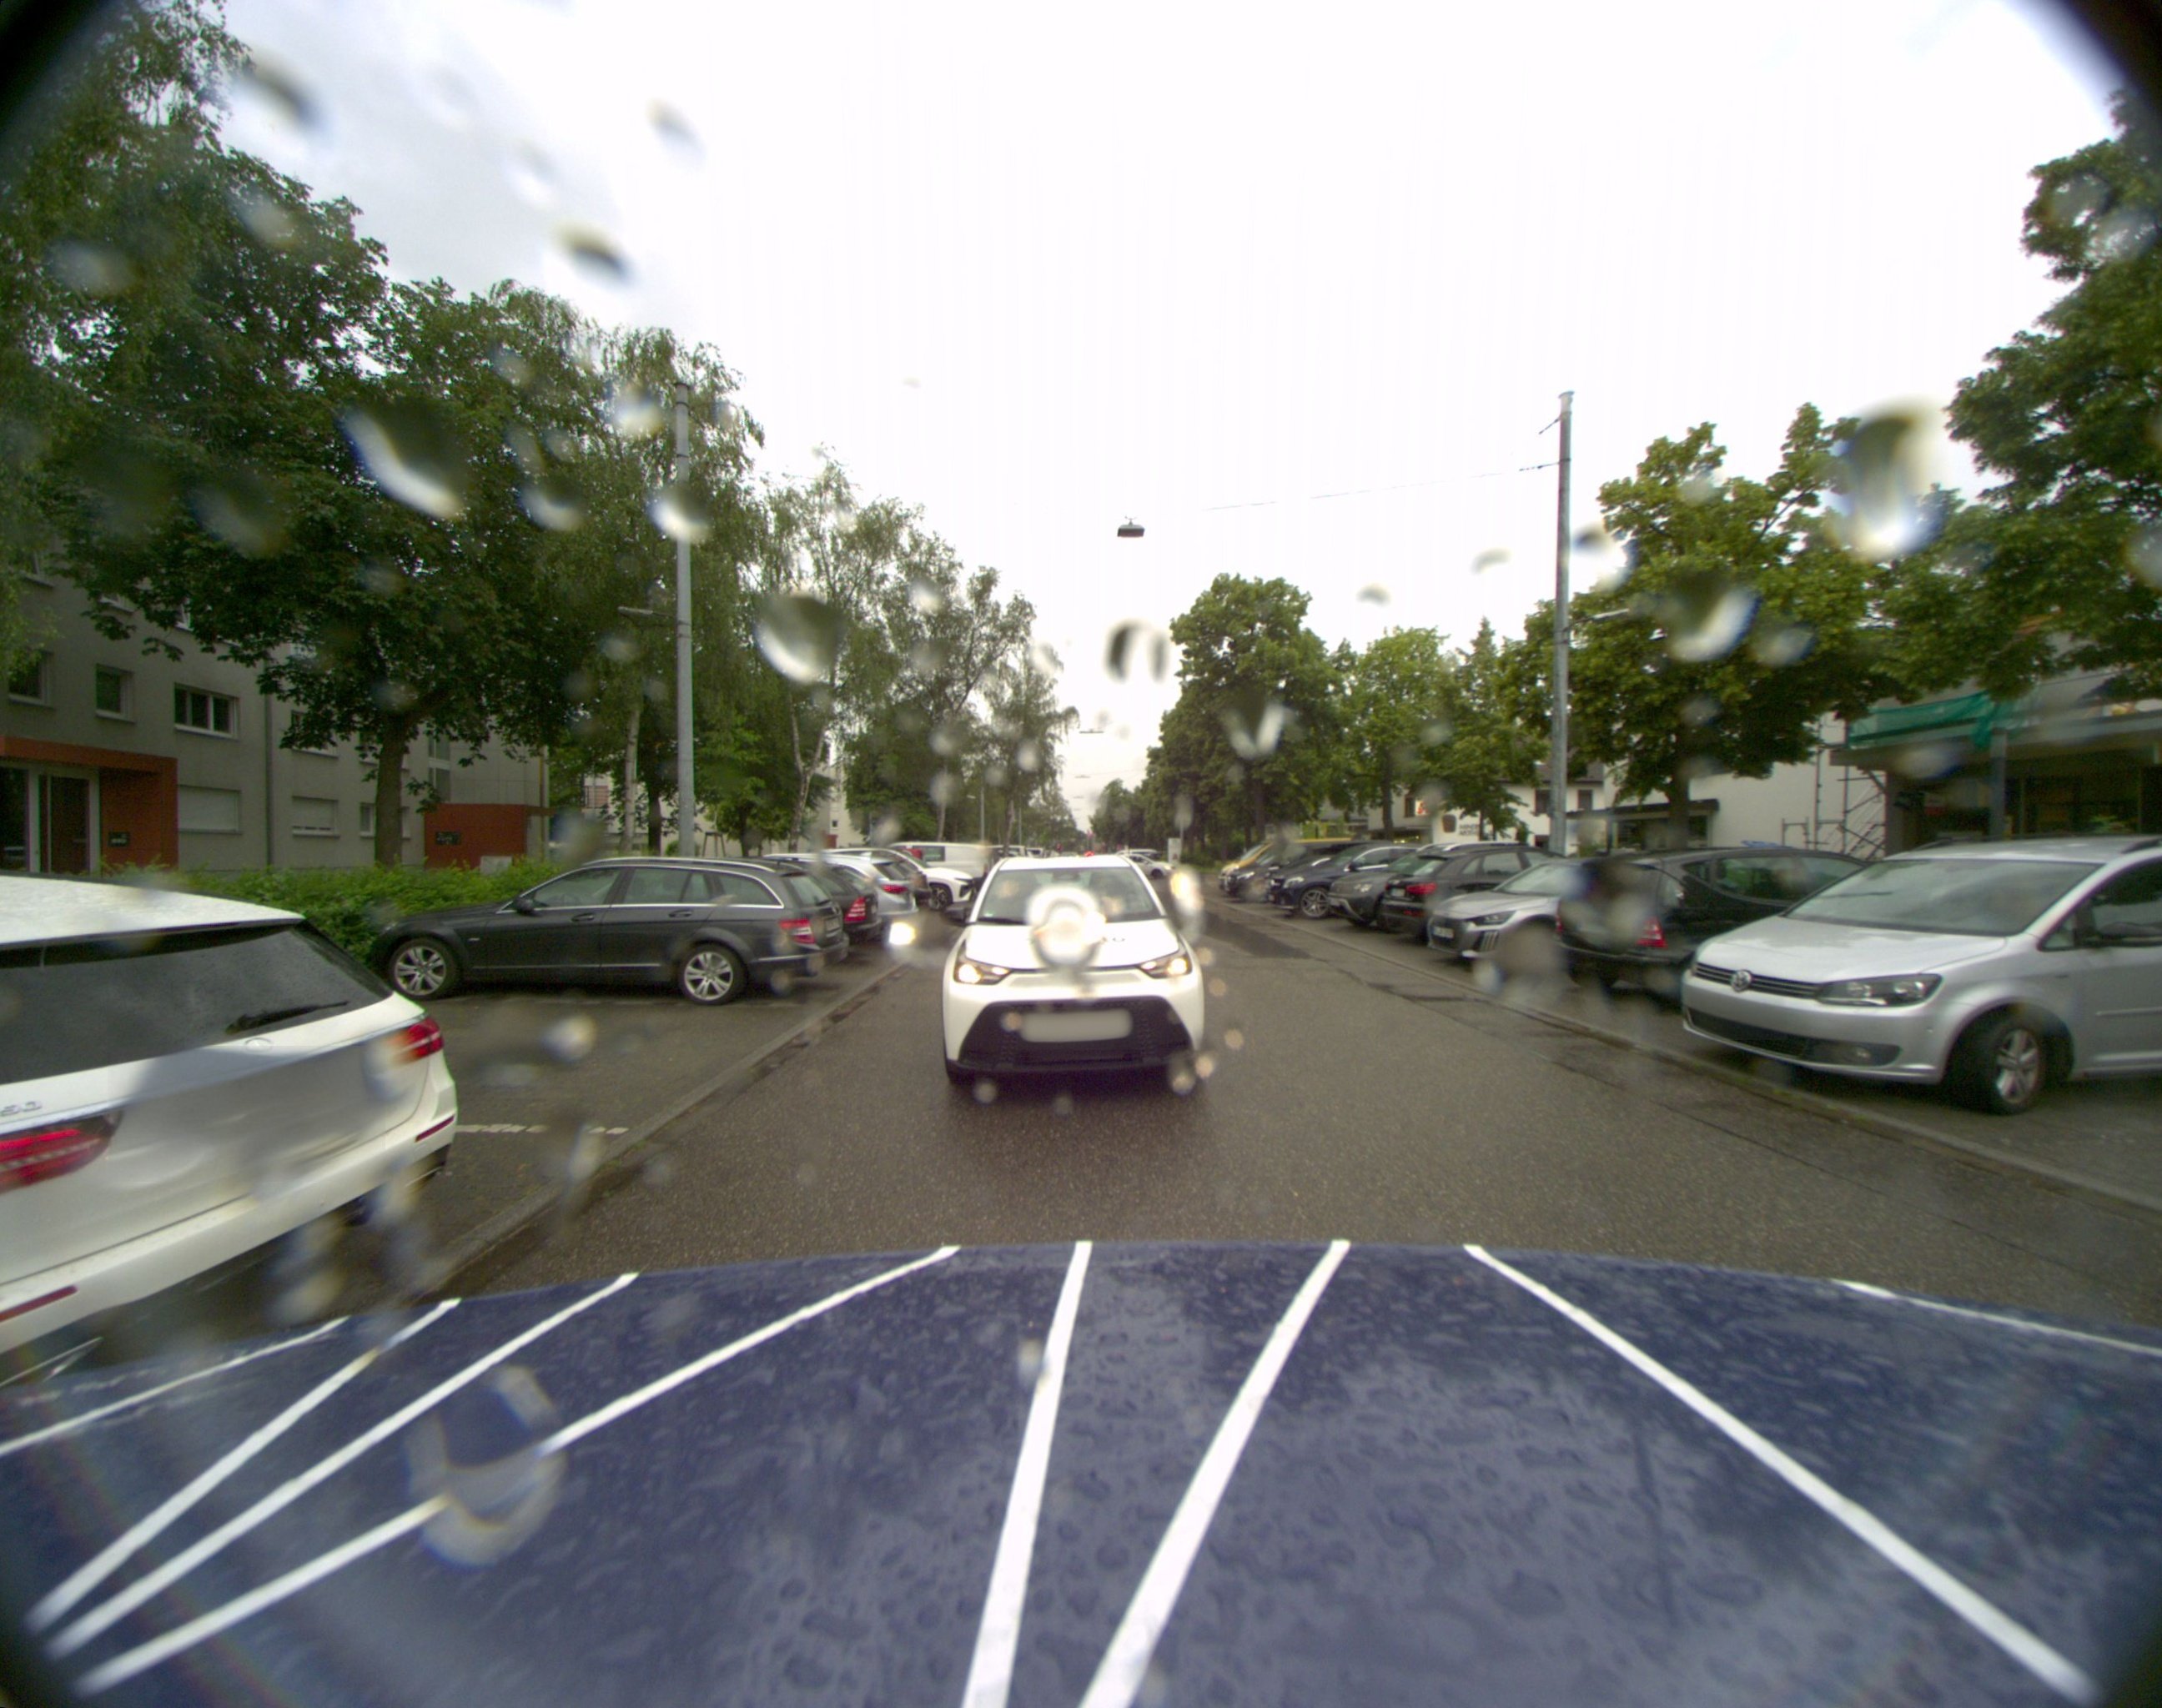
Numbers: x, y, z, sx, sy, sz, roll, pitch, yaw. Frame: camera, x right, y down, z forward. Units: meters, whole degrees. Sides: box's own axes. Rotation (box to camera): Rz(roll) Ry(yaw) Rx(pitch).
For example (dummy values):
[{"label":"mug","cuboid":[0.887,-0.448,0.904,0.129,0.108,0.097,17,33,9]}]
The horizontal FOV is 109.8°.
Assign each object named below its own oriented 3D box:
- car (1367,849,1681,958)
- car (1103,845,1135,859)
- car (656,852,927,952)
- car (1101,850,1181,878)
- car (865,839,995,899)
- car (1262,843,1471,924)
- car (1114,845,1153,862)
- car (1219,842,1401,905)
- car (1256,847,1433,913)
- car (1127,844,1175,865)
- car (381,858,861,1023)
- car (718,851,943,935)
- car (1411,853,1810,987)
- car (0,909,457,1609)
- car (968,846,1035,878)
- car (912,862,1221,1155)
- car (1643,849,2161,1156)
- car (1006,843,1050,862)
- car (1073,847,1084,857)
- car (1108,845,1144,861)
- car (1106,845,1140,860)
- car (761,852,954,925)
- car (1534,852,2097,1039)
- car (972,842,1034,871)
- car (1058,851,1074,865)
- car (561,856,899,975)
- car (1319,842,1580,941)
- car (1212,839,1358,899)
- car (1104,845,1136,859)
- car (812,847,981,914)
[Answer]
[{"label":"car","cuboid":[7.259,0.762,12.716,4.283,1.586,1.715,-1,1,-2]},{"label":"car","cuboid":[4.970,-0.260,99.202,3.998,1.675,1.999,-2,1,-3]},{"label":"car","cuboid":[-4.892,0.794,13.270,4.049,1.488,1.680,2,1,-3]},{"label":"car","cuboid":[3.532,0.594,44.328,4.249,1.446,2.002,-2,1,17]},{"label":"car","cuboid":[-5.113,0.497,26.206,4.182,1.856,1.679,2,1,-6]},{"label":"car","cuboid":[6.640,0.648,17.964,4.283,1.717,1.715,-1,1,-2]},{"label":"car","cuboid":[5.785,-0.048,83.785,3.998,1.675,1.999,-2,1,-3]},{"label":"car","cuboid":[7.110,0.573,23.856,5.177,1.789,1.715,-1,1,-2]},{"label":"car","cuboid":[7.215,0.680,21.072,4.283,1.618,1.715,-1,1,-2]},{"label":"car","cuboid":[6.326,0.031,68.838,3.998,1.675,1.999,-2,1,-3]},{"label":"car","cuboid":[-4.636,0.846,8.135,4.049,1.431,1.680,2,1,-3]},{"label":"car","cuboid":[-5.020,0.762,15.628,4.049,1.488,1.680,2,1,-3]},{"label":"car","cuboid":[7.008,0.816,10.338,4.283,1.523,1.715,-1,1,-2]},{"label":"car","cuboid":[-4.754,0.918,2.107,4.623,1.431,1.680,2,1,0]},{"label":"car","cuboid":[-5.115,0.486,49.317,3.995,1.903,1.902,-2,1,4]},{"label":"car","cuboid":[-0.160,0.913,6.464,1.733,1.519,4.138,-2,1,-3]},{"label":"car","cuboid":[6.613,0.836,5.232,4.283,1.625,1.715,-1,1,-2]},{"label":"car","cuboid":[-5.184,-0.161,75.022,3.995,1.670,1.902,-2,1,4]},{"label":"car","cuboid":[-0.555,-0.374,146.903,1.998,1.804,3.999,-2,1,1]},{"label":"car","cuboid":[5.335,-0.134,90.341,3.998,1.675,1.999,-2,1,-3]},{"label":"car","cuboid":[5.218,-0.194,94.447,3.998,1.675,1.999,-2,1,-3]},{"label":"car","cuboid":[-5.159,0.771,17.934,4.049,1.488,1.680,2,1,-3]},{"label":"car","cuboid":[7.264,0.831,7.793,4.283,1.557,1.635,-2,1,-2]},{"label":"car","cuboid":[-5.525,0.140,54.154,3.995,1.903,1.902,-2,1,4]},{"label":"car","cuboid":[-1.992,0.488,104.763,1.998,1.804,3.999,-2,1,1]},{"label":"car","cuboid":[-4.851,0.829,10.952,4.049,1.431,1.680,2,1,-3]},{"label":"car","cuboid":[7.093,0.674,14.880,4.283,1.717,1.715,-1,1,-2]},{"label":"car","cuboid":[7.172,0.488,26.957,4.657,1.947,1.715,-1,1,-2]},{"label":"car","cuboid":[5.205,-0.277,101.644,3.998,1.675,1.999,-2,1,-3]},{"label":"car","cuboid":[-4.998,0.687,20.946,4.179,1.609,1.680,2,1,1]}]
